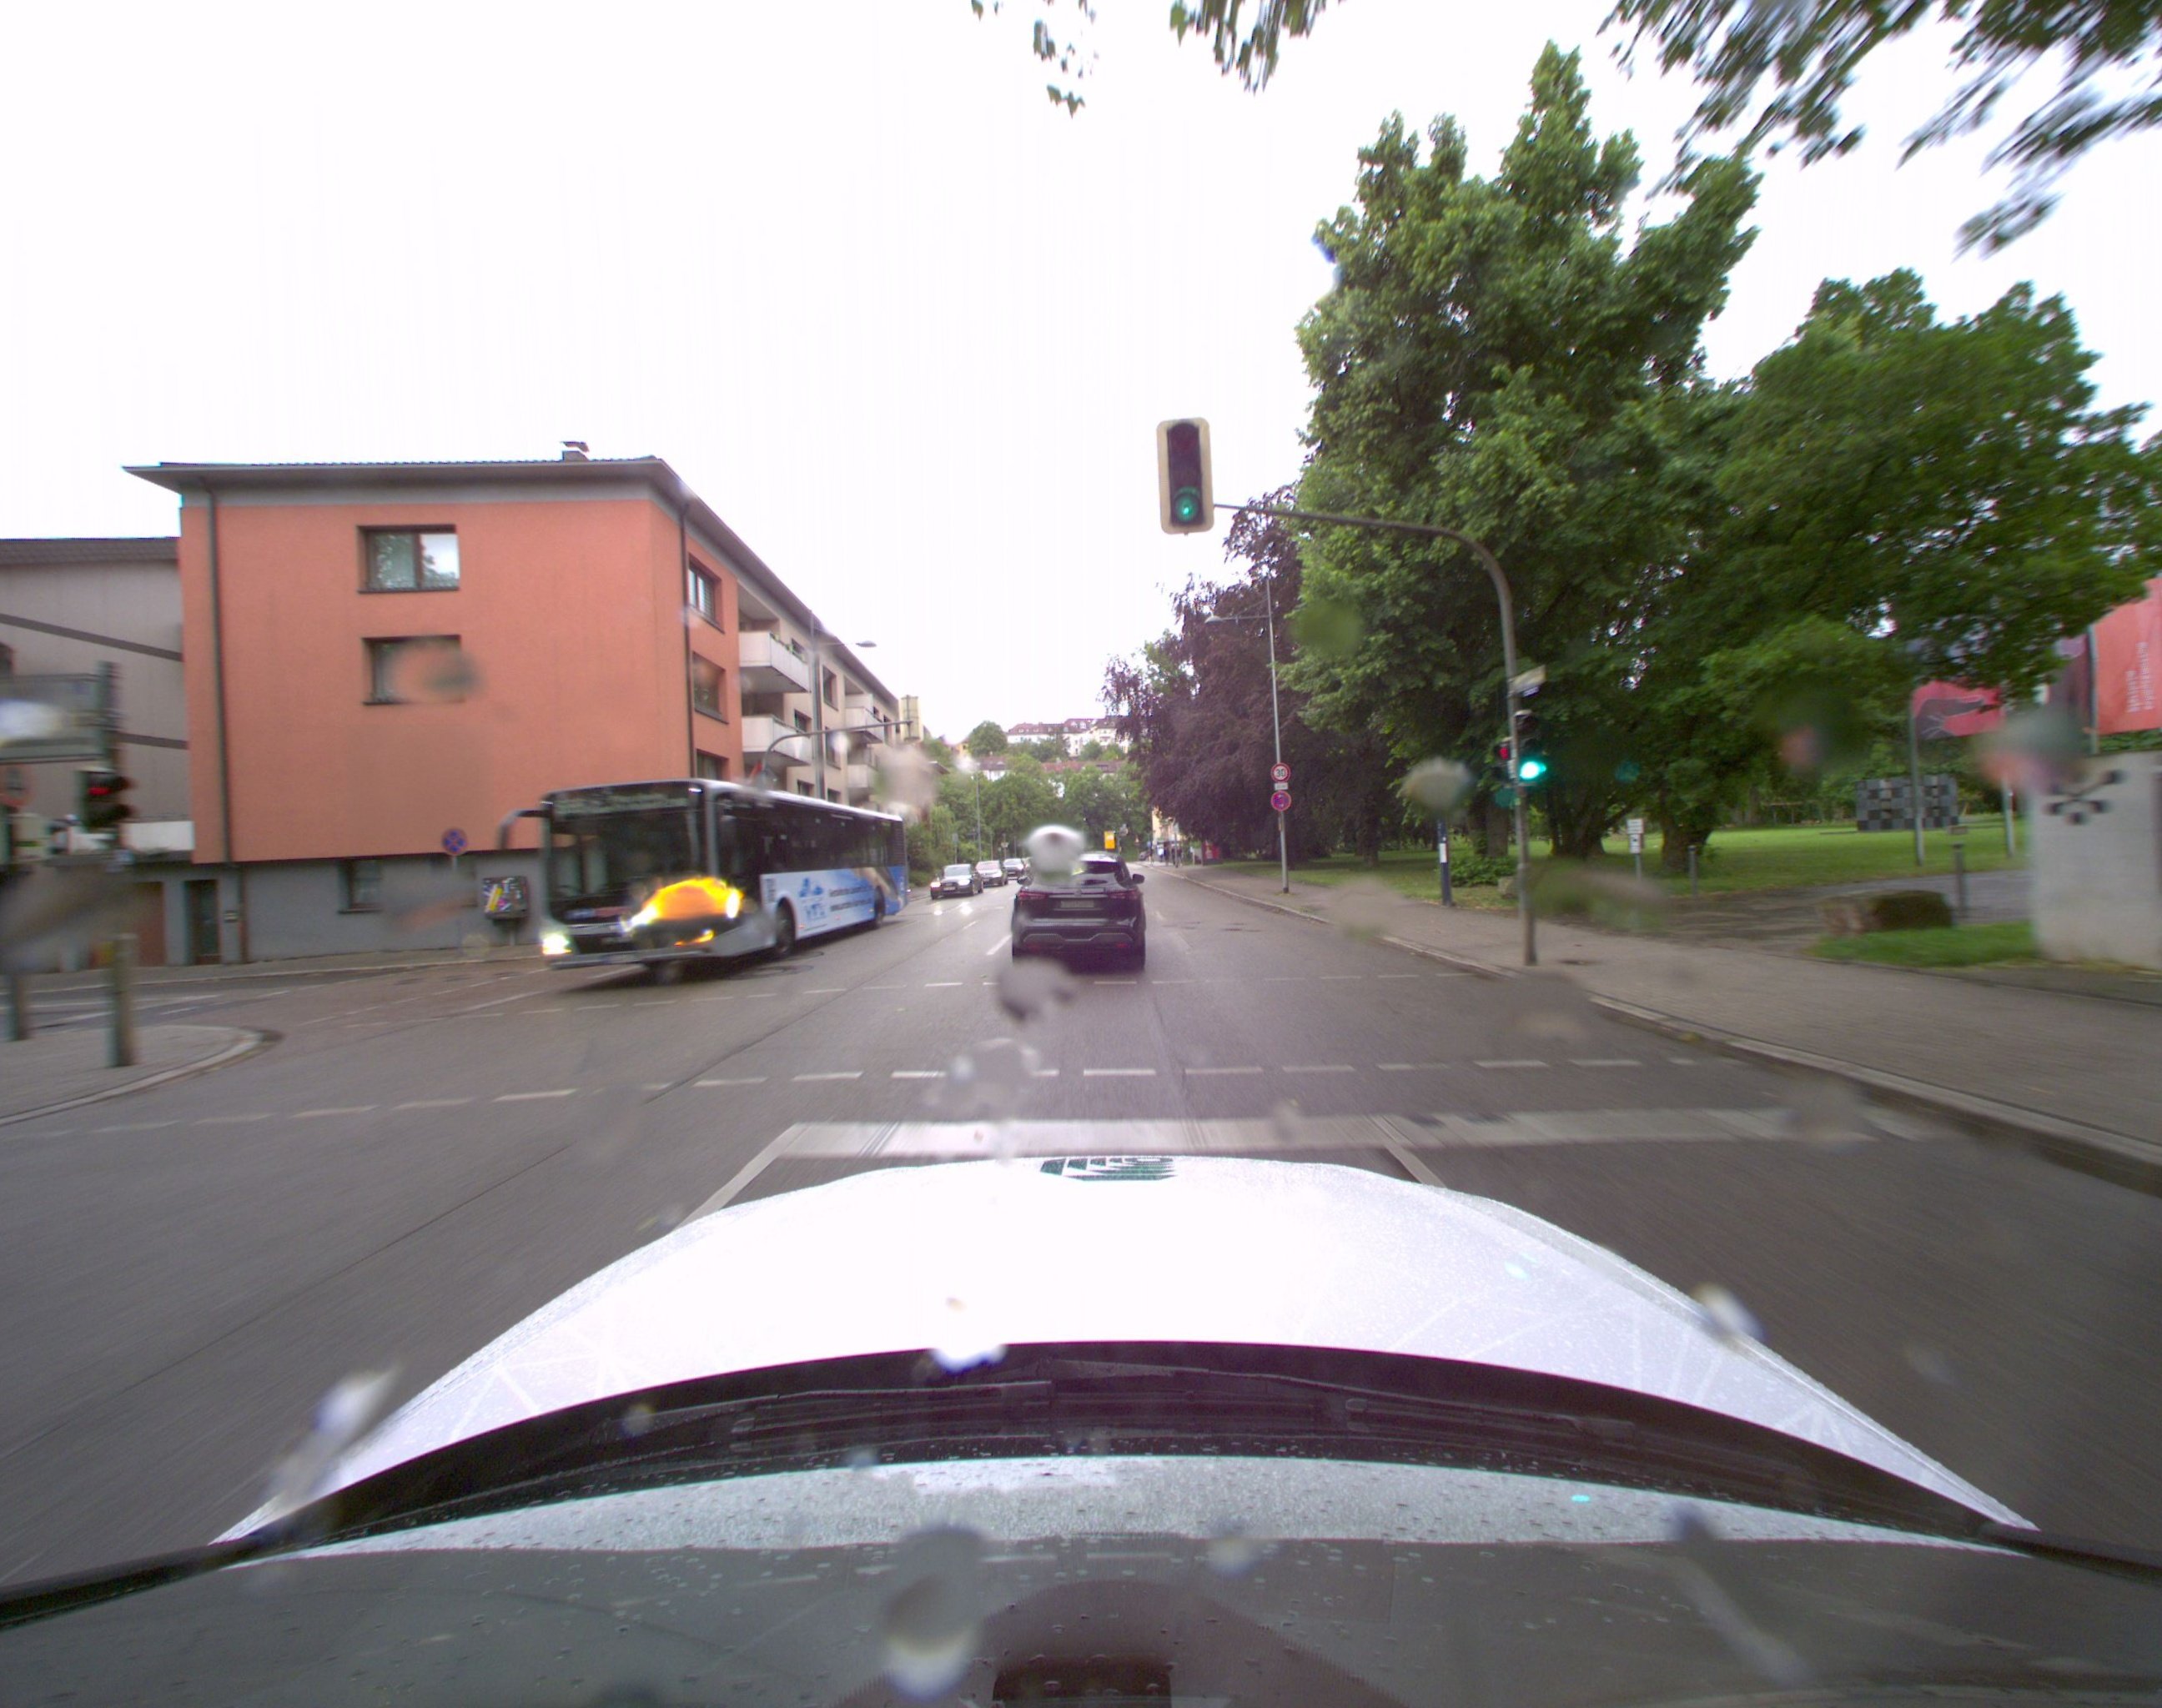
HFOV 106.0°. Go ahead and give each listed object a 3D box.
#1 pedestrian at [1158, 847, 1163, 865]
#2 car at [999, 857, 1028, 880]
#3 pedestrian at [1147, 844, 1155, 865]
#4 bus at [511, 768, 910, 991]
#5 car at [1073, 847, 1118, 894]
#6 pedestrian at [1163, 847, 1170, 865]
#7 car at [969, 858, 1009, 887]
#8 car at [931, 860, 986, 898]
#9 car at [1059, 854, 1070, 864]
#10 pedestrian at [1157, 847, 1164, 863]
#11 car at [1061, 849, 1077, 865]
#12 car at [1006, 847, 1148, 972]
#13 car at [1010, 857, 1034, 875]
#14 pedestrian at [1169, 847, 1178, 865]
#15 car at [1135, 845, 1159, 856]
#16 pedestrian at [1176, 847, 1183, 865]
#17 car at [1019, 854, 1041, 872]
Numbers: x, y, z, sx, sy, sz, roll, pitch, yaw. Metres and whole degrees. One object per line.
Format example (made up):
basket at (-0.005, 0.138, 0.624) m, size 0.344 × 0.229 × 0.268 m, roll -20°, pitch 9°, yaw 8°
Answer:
pedestrian at (7.380, 0.167, 75.640) m, size 0.472 × 1.651 × 0.491 m, roll -1°, pitch -1°, yaw 12°
car at (-4.891, 1.010, 59.417) m, size 1.671 × 1.469 × 4.216 m, roll -4°, pitch 0°, yaw 0°
pedestrian at (7.448, 0.051, 86.907) m, size 0.765 × 2.184 × 0.712 m, roll -1°, pitch -1°, yaw 4°
bus at (-6.405, 0.397, 17.256) m, size 2.757 × 2.974 × 11.782 m, roll -3°, pitch 0°, yaw 1°
car at (0.644, 0.632, 32.905) m, size 1.615 × 1.709 × 3.773 m, roll -4°, pitch 0°, yaw 3°
pedestrian at (7.961, 0.163, 75.829) m, size 0.541 × 1.651 × 0.491 m, roll -1°, pitch -1°, yaw 12°
car at (-5.245, 1.007, 46.804) m, size 1.742 × 1.469 × 4.216 m, roll -4°, pitch 0°, yaw 0°
car at (-5.494, 1.092, 37.004) m, size 1.770 × 1.469 × 4.216 m, roll -4°, pitch 0°, yaw 0°
car at (-2.698, 0.837, 135.347) m, size 1.713 × 1.468 × 3.684 m, roll -4°, pitch 0°, yaw -1°
pedestrian at (9.126, 0.129, 93.047) m, size 0.616 × 1.779 × 0.778 m, roll -4°, pitch 0°, yaw 1°
car at (-1.404, 0.381, 96.627) m, size 1.757 × 1.758 × 3.635 m, roll -3°, pitch 0°, yaw 1°
car at (-0.018, 0.738, 12.453) m, size 1.800 × 1.590 × 4.000 m, roll -1°, pitch -1°, yaw 1°
car at (-4.940, 0.991, 68.921) m, size 1.671 × 1.296 × 3.751 m, roll -4°, pitch 0°, yaw 0°
pedestrian at (8.629, 0.158, 75.901) m, size 0.694 × 1.651 × 0.630 m, roll -1°, pitch -1°, yaw 12°
car at (12.279, -0.680, 150.730) m, size 3.987 × 1.684 × 1.993 m, roll -3°, pitch 0°, yaw -10°
pedestrian at (8.982, 0.160, 74.285) m, size 0.513 × 1.655 × 0.550 m, roll -1°, pitch -1°, yaw 1°
car at (-4.921, 0.883, 79.337) m, size 1.744 × 1.633 × 3.635 m, roll -3°, pitch 0°, yaw 1°
